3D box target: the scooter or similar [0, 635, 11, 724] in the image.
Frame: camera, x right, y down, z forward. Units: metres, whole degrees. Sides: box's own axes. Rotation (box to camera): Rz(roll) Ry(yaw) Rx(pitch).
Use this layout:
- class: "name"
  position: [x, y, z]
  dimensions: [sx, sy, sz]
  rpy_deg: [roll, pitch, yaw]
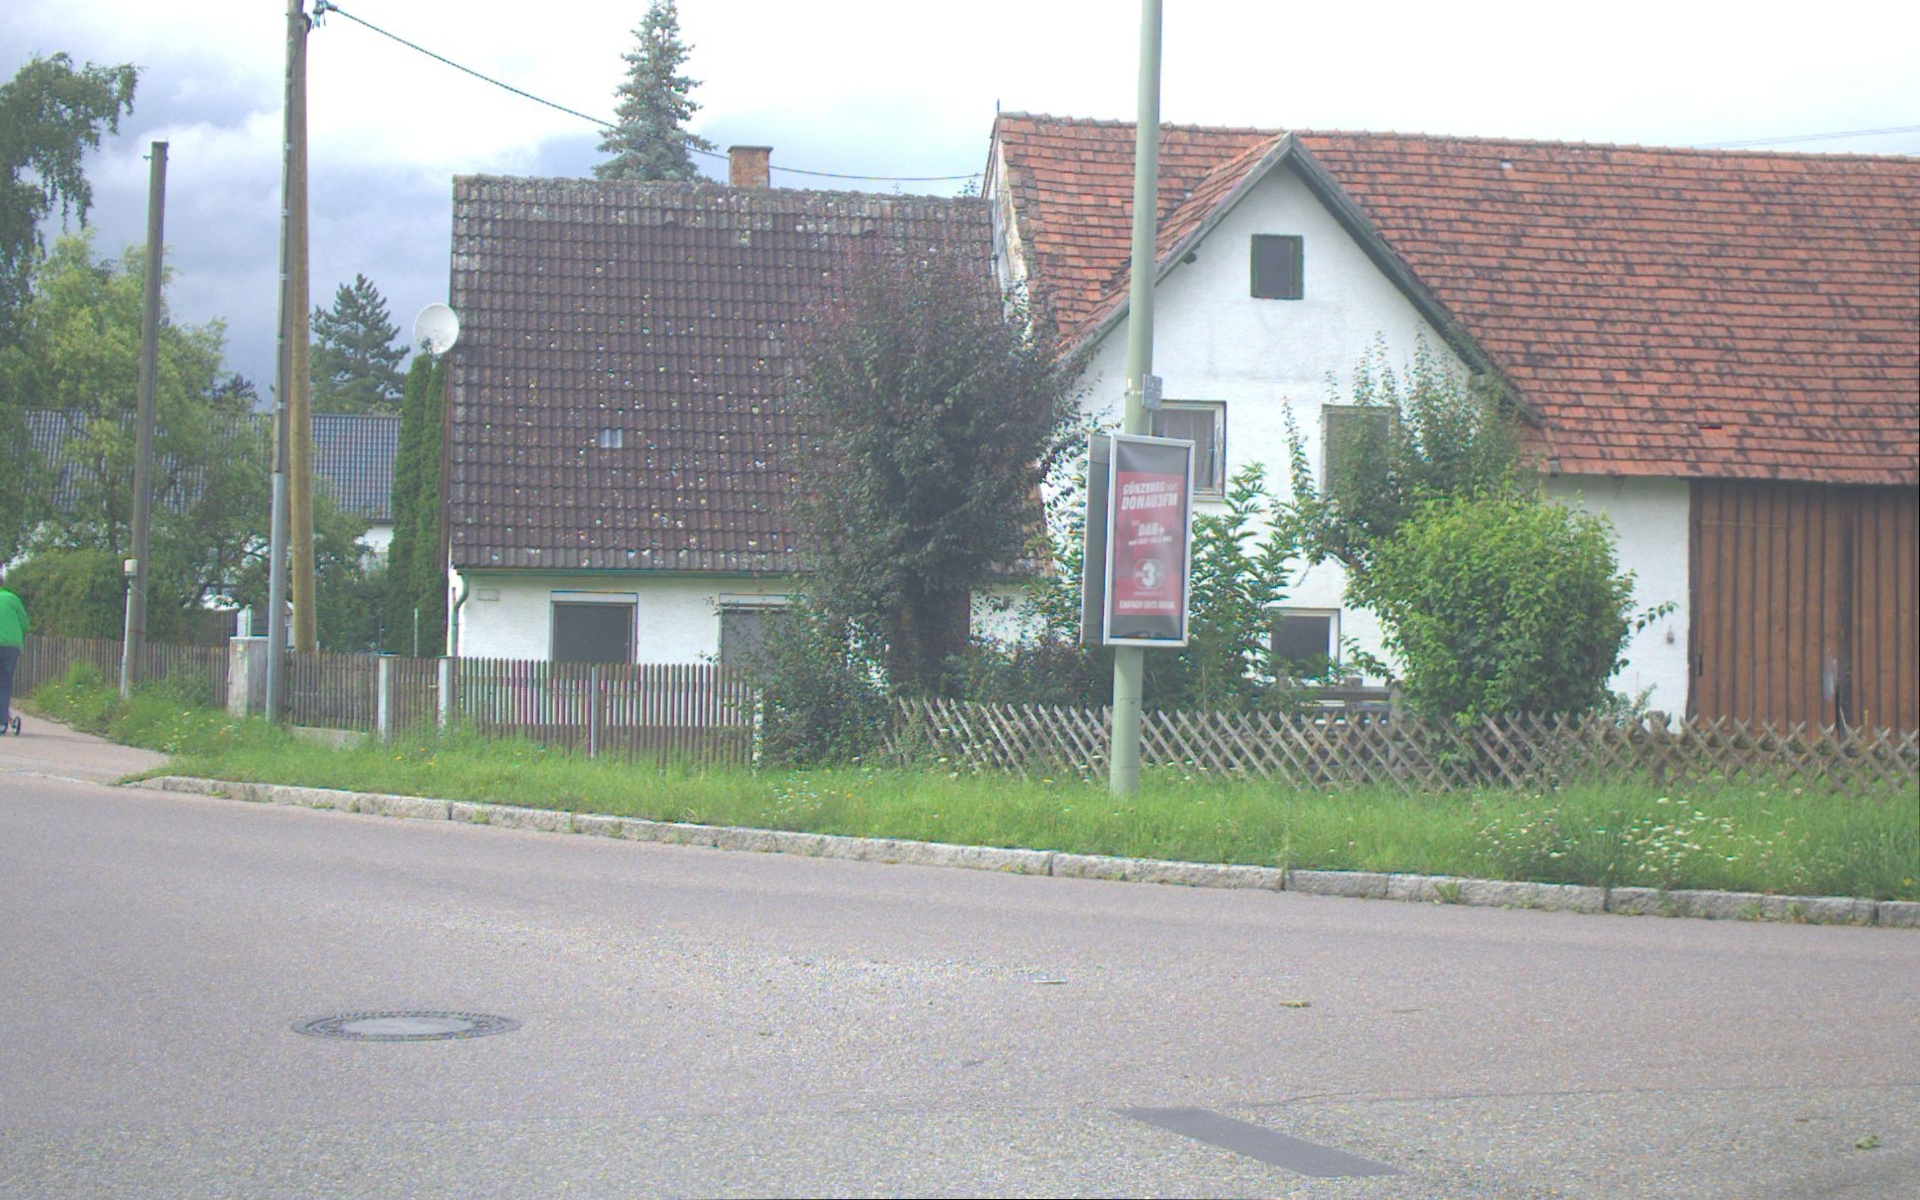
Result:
- class: "scooter or similar"
  position: [-10.572, 0.820, 36.726]
  dimensions: [0.630, 0.945, 0.622]
  rpy_deg: [6, -2, -27]

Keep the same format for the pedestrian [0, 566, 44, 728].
- class: "pedestrian"
  position: [-10.158, 0.470, 36.045]
  dimensions: [0.788, 1.659, 0.712]
  rpy_deg: [6, -2, -27]
